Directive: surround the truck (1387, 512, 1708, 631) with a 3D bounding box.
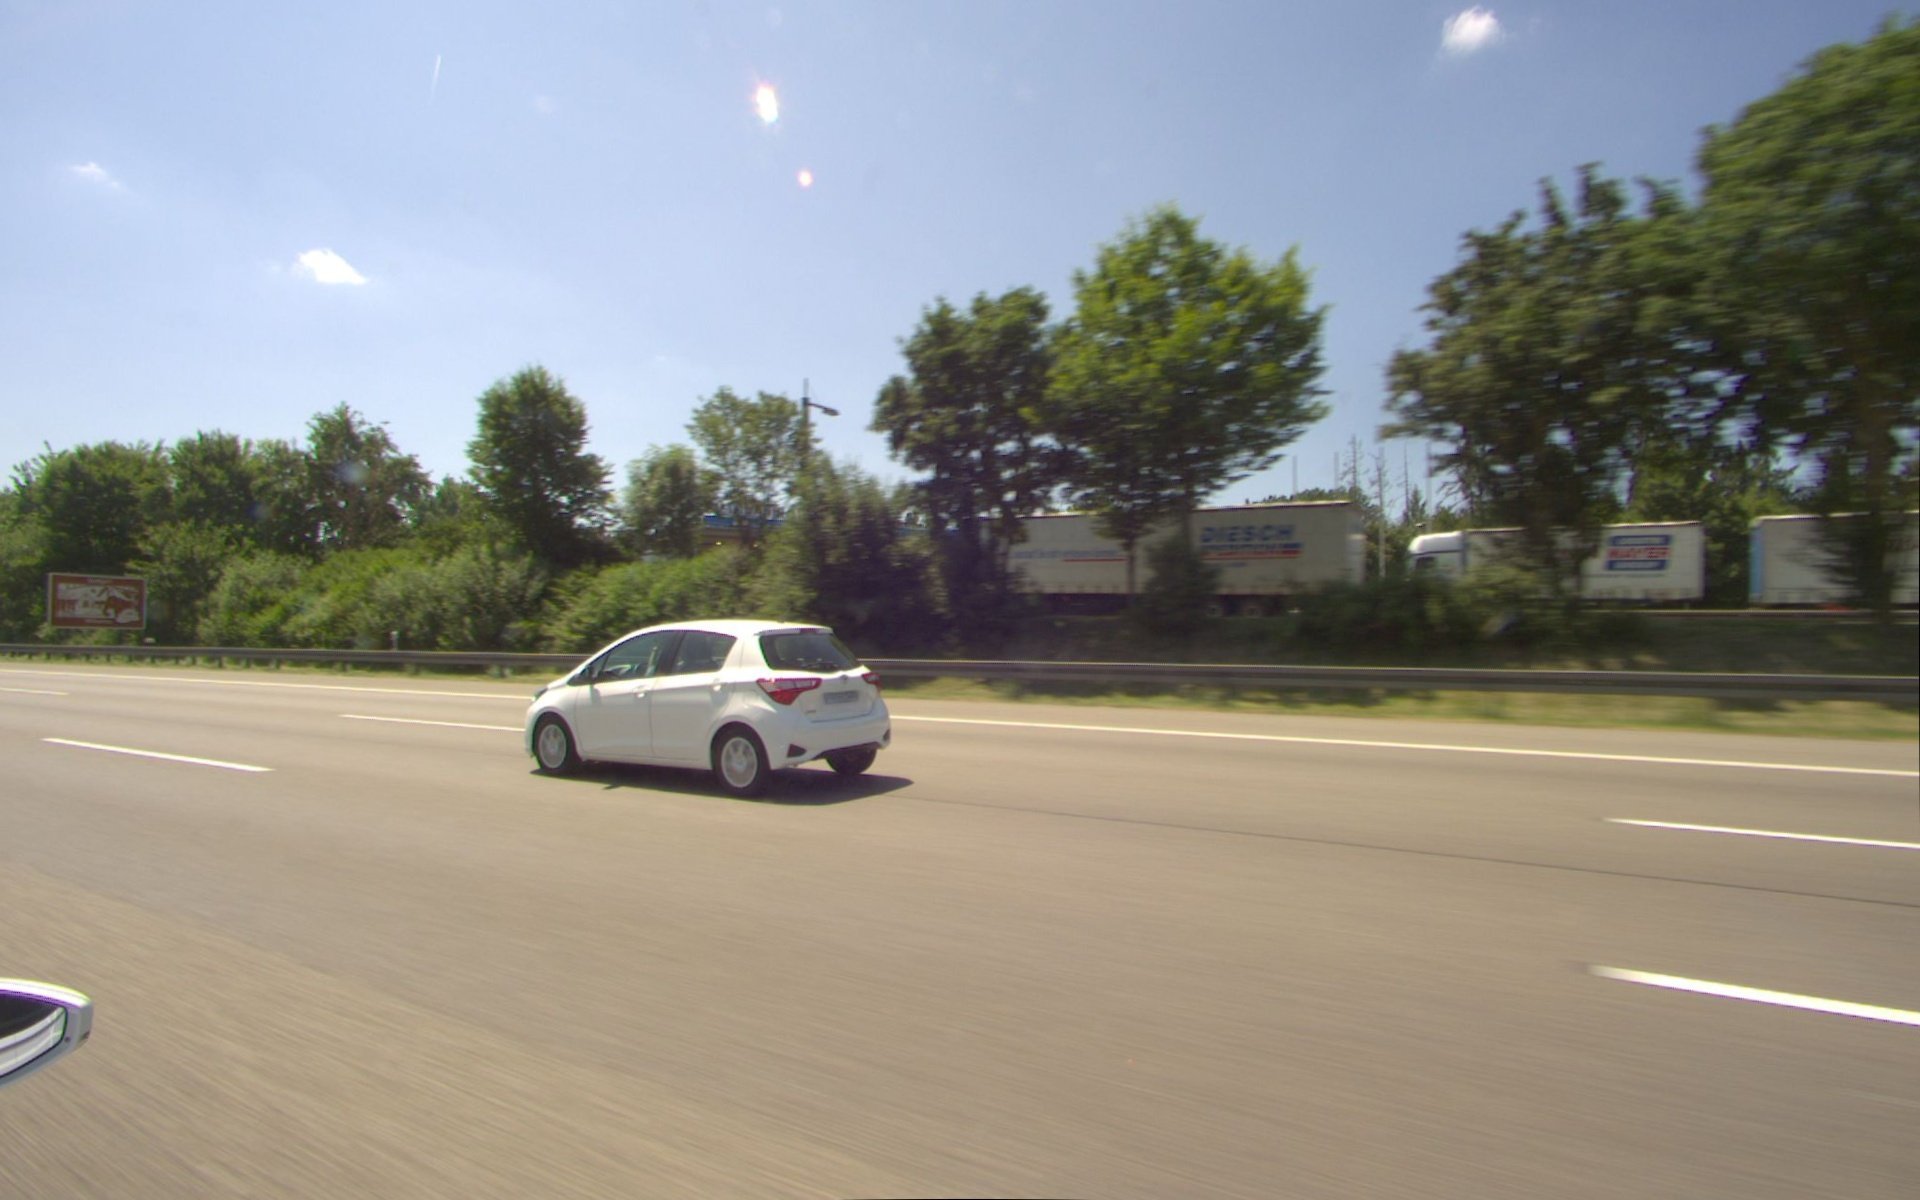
[{"bbox_3d":[22.075,-0.845,38.245,10.251,3.904,2.926,-2,-2,35],"label":"truck"}]

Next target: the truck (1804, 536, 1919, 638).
[{"bbox_3d":[49.722,-0.780,47.693,2.910,5.051,16.350,0,-2,-11],"label":"truck"}]

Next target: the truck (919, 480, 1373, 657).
[{"bbox_3d":[6.088,-0.694,36.395,16.157,5.387,3.513,-2,-2,33],"label":"truck"}]

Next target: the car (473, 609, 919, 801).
[{"bbox_3d":[-2.715,0.901,9.954,4.419,1.538,1.747,-1,-1,32],"label":"car"}]

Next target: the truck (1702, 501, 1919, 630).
[{"bbox_3d":[29.926,-1.028,32.609,9.142,3.926,2.957,-2,-2,36],"label":"truck"}]
